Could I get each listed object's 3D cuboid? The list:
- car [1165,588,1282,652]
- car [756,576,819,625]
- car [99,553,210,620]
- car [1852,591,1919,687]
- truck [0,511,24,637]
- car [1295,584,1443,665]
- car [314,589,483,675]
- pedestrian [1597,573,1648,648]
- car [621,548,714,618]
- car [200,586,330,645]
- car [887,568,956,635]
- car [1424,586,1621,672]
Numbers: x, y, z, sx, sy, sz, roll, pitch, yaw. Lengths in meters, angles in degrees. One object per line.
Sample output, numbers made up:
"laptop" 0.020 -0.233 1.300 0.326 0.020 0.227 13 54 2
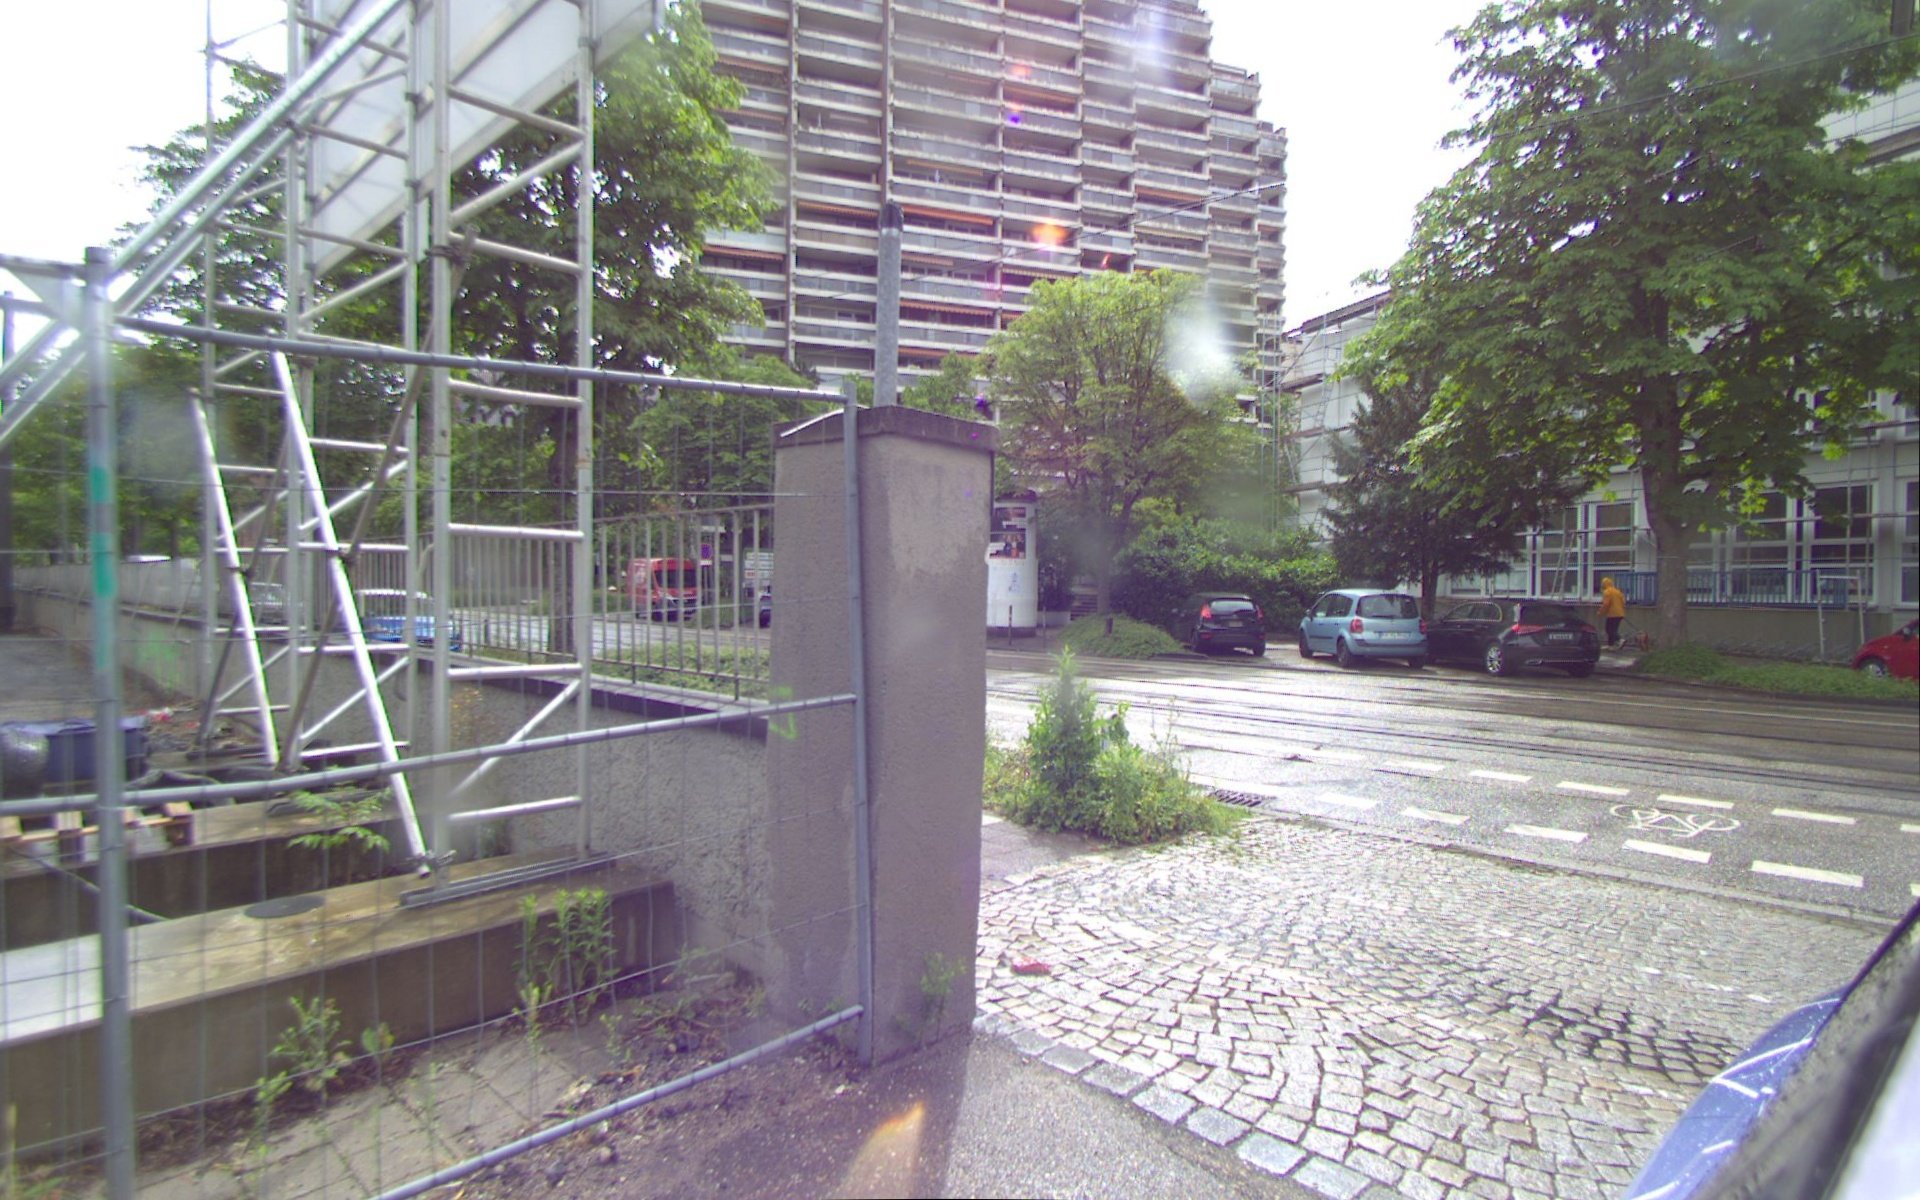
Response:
"car" 6.348 0.443 24.768 1.735 1.414 3.652 0 1 -3
"car" -6.287 -0.031 37.300 1.751 1.584 4.050 0 2 -2
"car" -32.332 -0.480 40.539 6.130 2.506 2.556 0 -1 43
"car" 15.893 0.653 15.299 1.708 1.488 3.409 2 1 -1
"truck" -31.354 -0.757 31.298 3.189 3.572 9.882 2 -1 -44
"car" 8.650 0.449 21.738 1.676 1.570 3.650 0 1 0
"car" -11.030 0.575 19.778 1.859 1.489 3.988 2 -1 -45
"pedestrian" 15.863 0.250 24.258 0.694 1.765 0.838 1 -1 3
"car" -12.120 -0.706 41.625 2.257 2.666 5.487 1 1 -32
"car" -18.847 0.409 27.384 3.980 1.489 1.863 0 -1 39
"car" -1.132 0.003 31.626 1.901 1.920 4.645 1 1 1
"car" 10.703 0.477 19.565 1.708 1.488 3.651 0 1 -1
